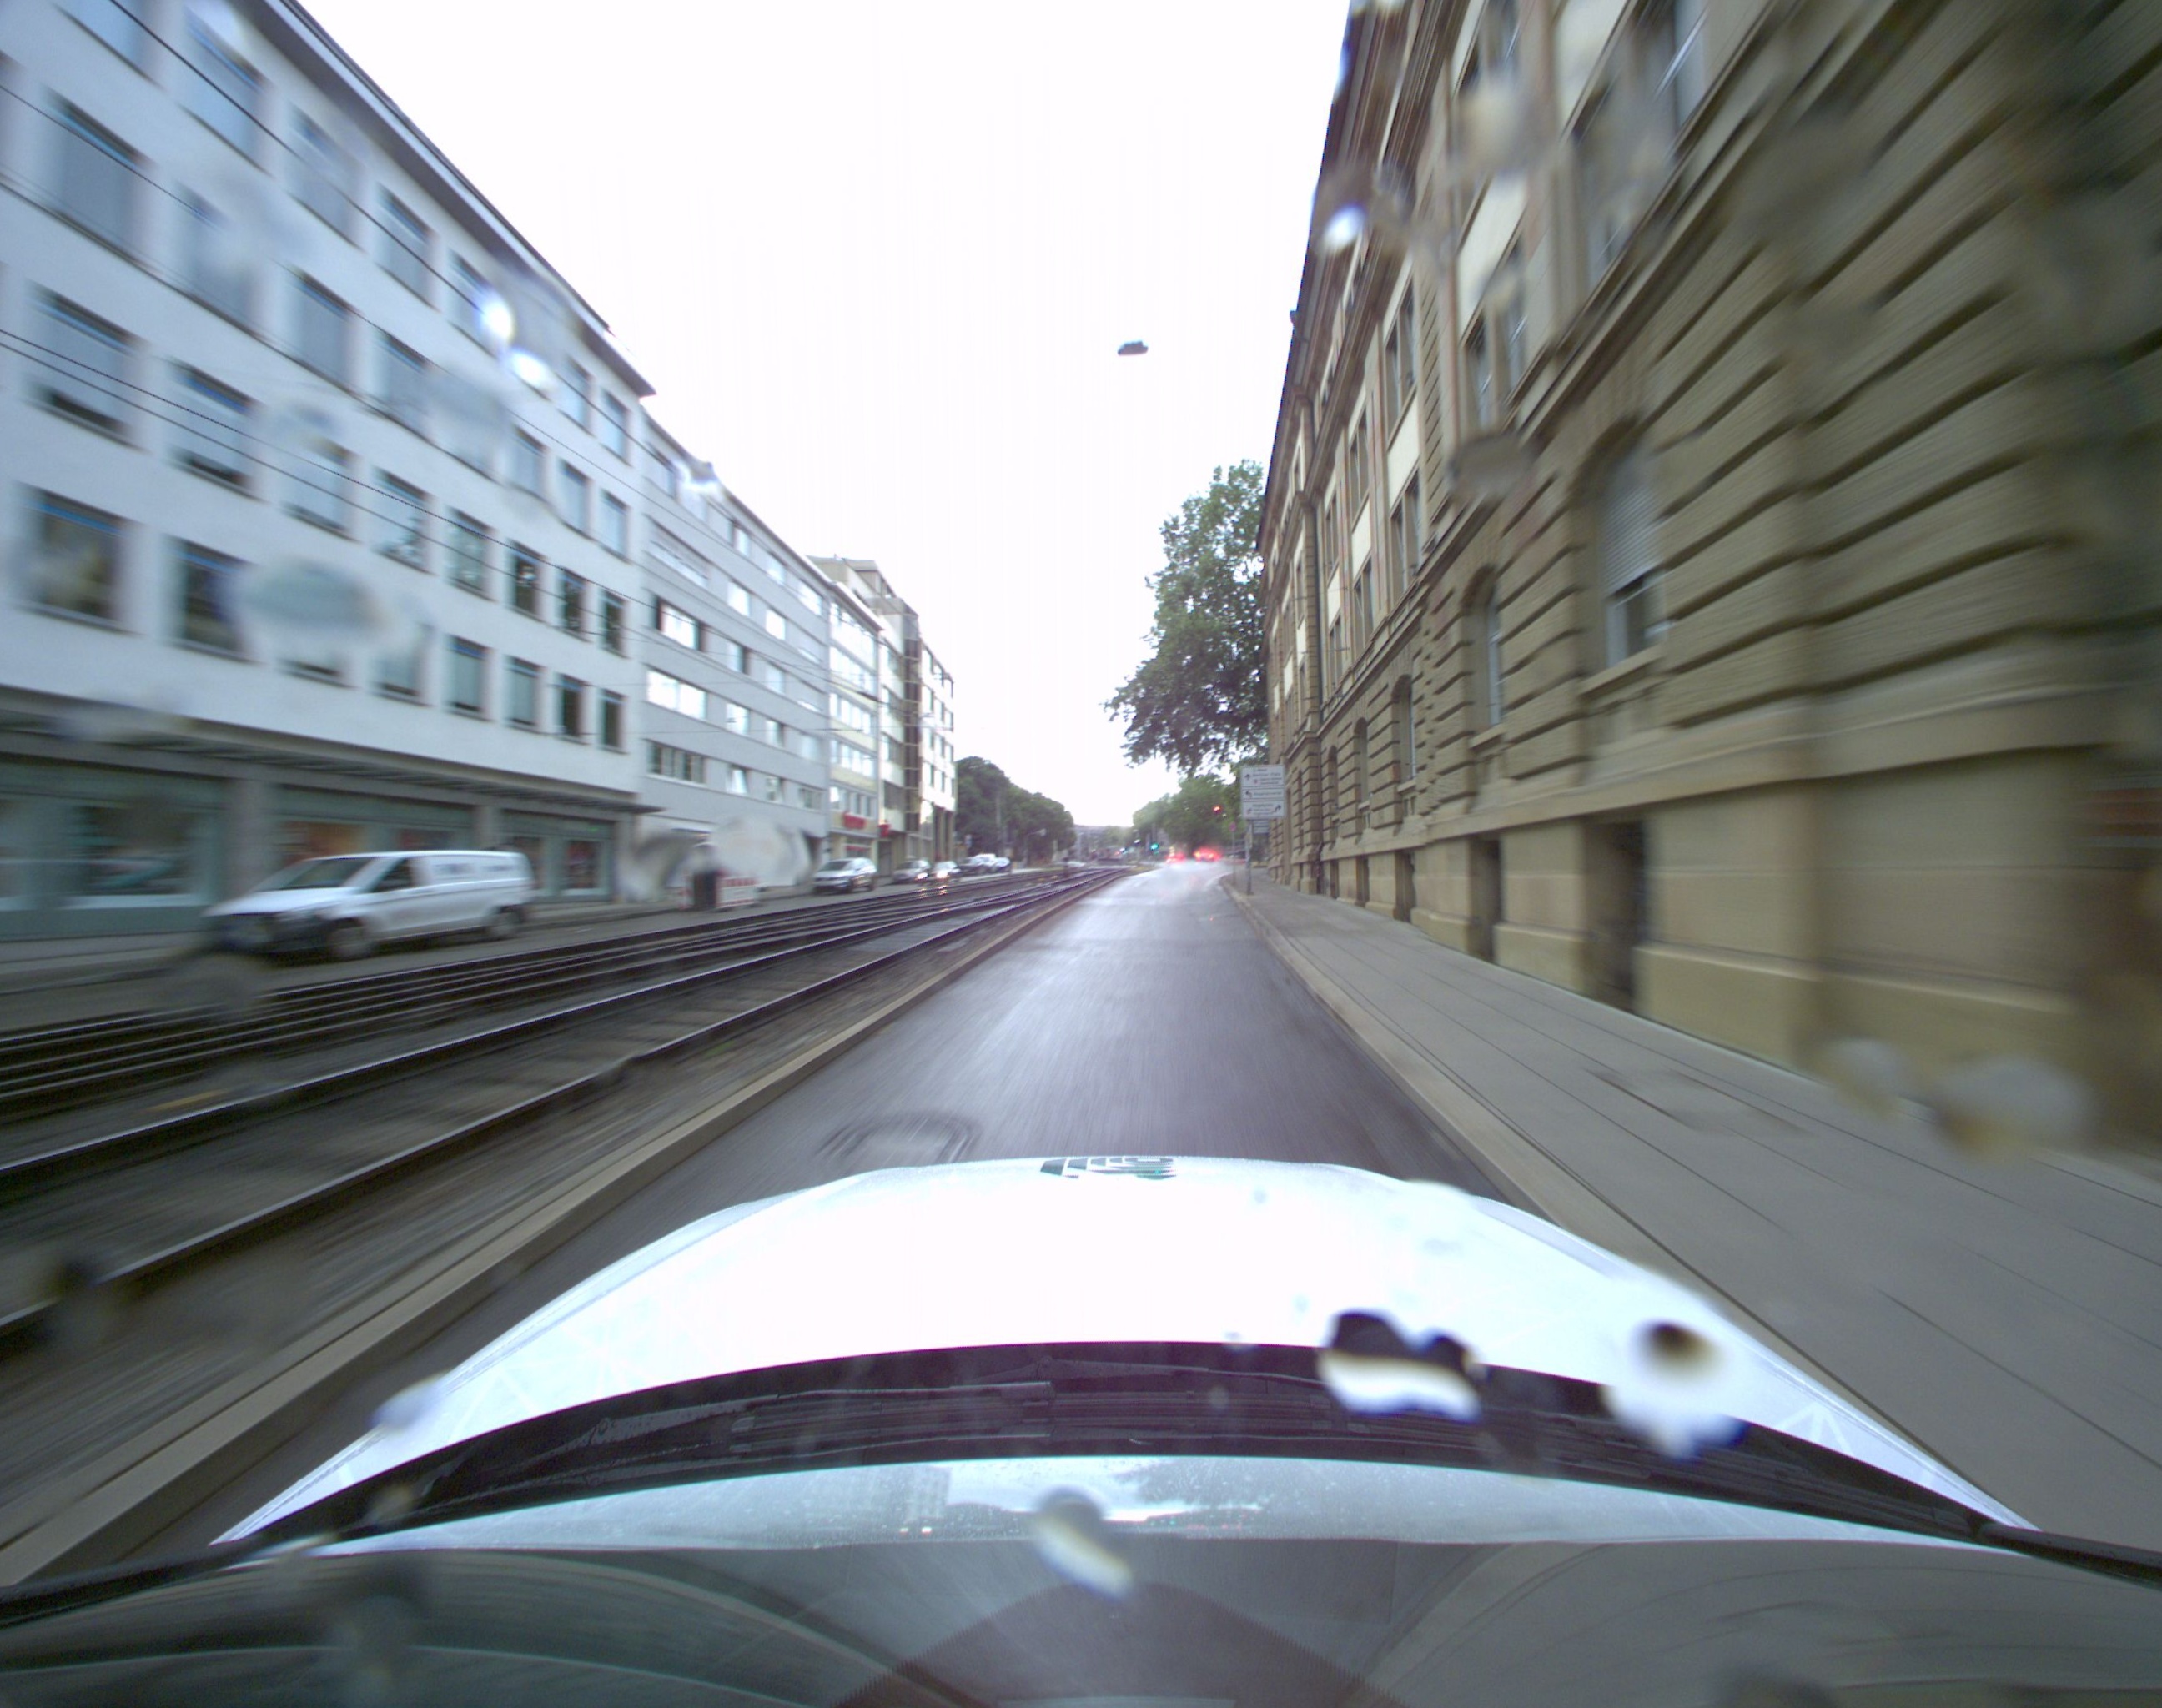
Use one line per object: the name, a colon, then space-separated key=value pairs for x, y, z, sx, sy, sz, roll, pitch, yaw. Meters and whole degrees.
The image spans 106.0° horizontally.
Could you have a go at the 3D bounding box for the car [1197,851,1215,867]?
car: x=13.434 y=0.535 z=87.369 sx=1.668 sy=1.576 sz=4.265 roll=-2 pitch=0 yaw=10

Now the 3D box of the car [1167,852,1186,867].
car: x=10.732 y=0.659 z=91.292 sx=1.969 sy=1.640 sz=4.426 roll=1 pitch=-1 yaw=8

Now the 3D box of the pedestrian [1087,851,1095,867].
pedestrian: x=1.138 y=0.616 z=93.478 sx=0.640 sy=1.788 sz=0.806 roll=1 pitch=-2 yaw=-18

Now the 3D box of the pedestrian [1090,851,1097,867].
pedestrian: x=1.404 y=0.592 z=92.604 sx=0.639 sy=1.788 sz=0.807 roll=1 pitch=-2 yaw=-13

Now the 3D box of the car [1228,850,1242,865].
car: x=33.305 y=0.754 z=176.189 sx=2.532 sy=3.134 sz=5.037 roll=1 pitch=-1 yaw=5

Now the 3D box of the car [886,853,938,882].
car: x=-10.318 y=0.828 z=50.092 sx=1.985 sy=1.674 sz=4.698 roll=1 pitch=-1 yaw=3

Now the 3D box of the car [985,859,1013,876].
car: x=-7.836 y=1.295 z=78.389 sx=1.985 sy=1.582 sz=4.552 roll=1 pitch=-1 yaw=3

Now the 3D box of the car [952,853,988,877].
car: x=-9.041 y=0.895 z=66.709 sx=1.985 sy=1.850 sz=4.698 roll=1 pitch=-1 yaw=3

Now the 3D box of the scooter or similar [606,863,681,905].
scooter or similar: x=-15.170 y=1.013 z=28.353 sx=0.693 sy=1.374 sz=3.092 roll=1 pitch=-1 yaw=5

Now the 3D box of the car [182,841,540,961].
car: x=-12.989 y=0.797 z=15.328 sx=1.985 sy=1.842 sz=5.134 roll=-1 pitch=-1 yaw=3

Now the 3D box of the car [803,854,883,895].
car: x=-10.993 y=0.900 z=38.029 sx=1.984 sy=1.673 sz=4.702 roll=1 pitch=1 yaw=5

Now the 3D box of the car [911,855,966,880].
car: x=-7.748 y=0.763 z=44.826 sx=1.985 sy=1.255 sz=4.698 roll=-2 pitch=-1 yaw=3

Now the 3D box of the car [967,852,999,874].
car: x=-8.607 y=0.792 z=72.099 sx=1.985 sy=1.850 sz=4.698 roll=1 pitch=-1 yaw=3
